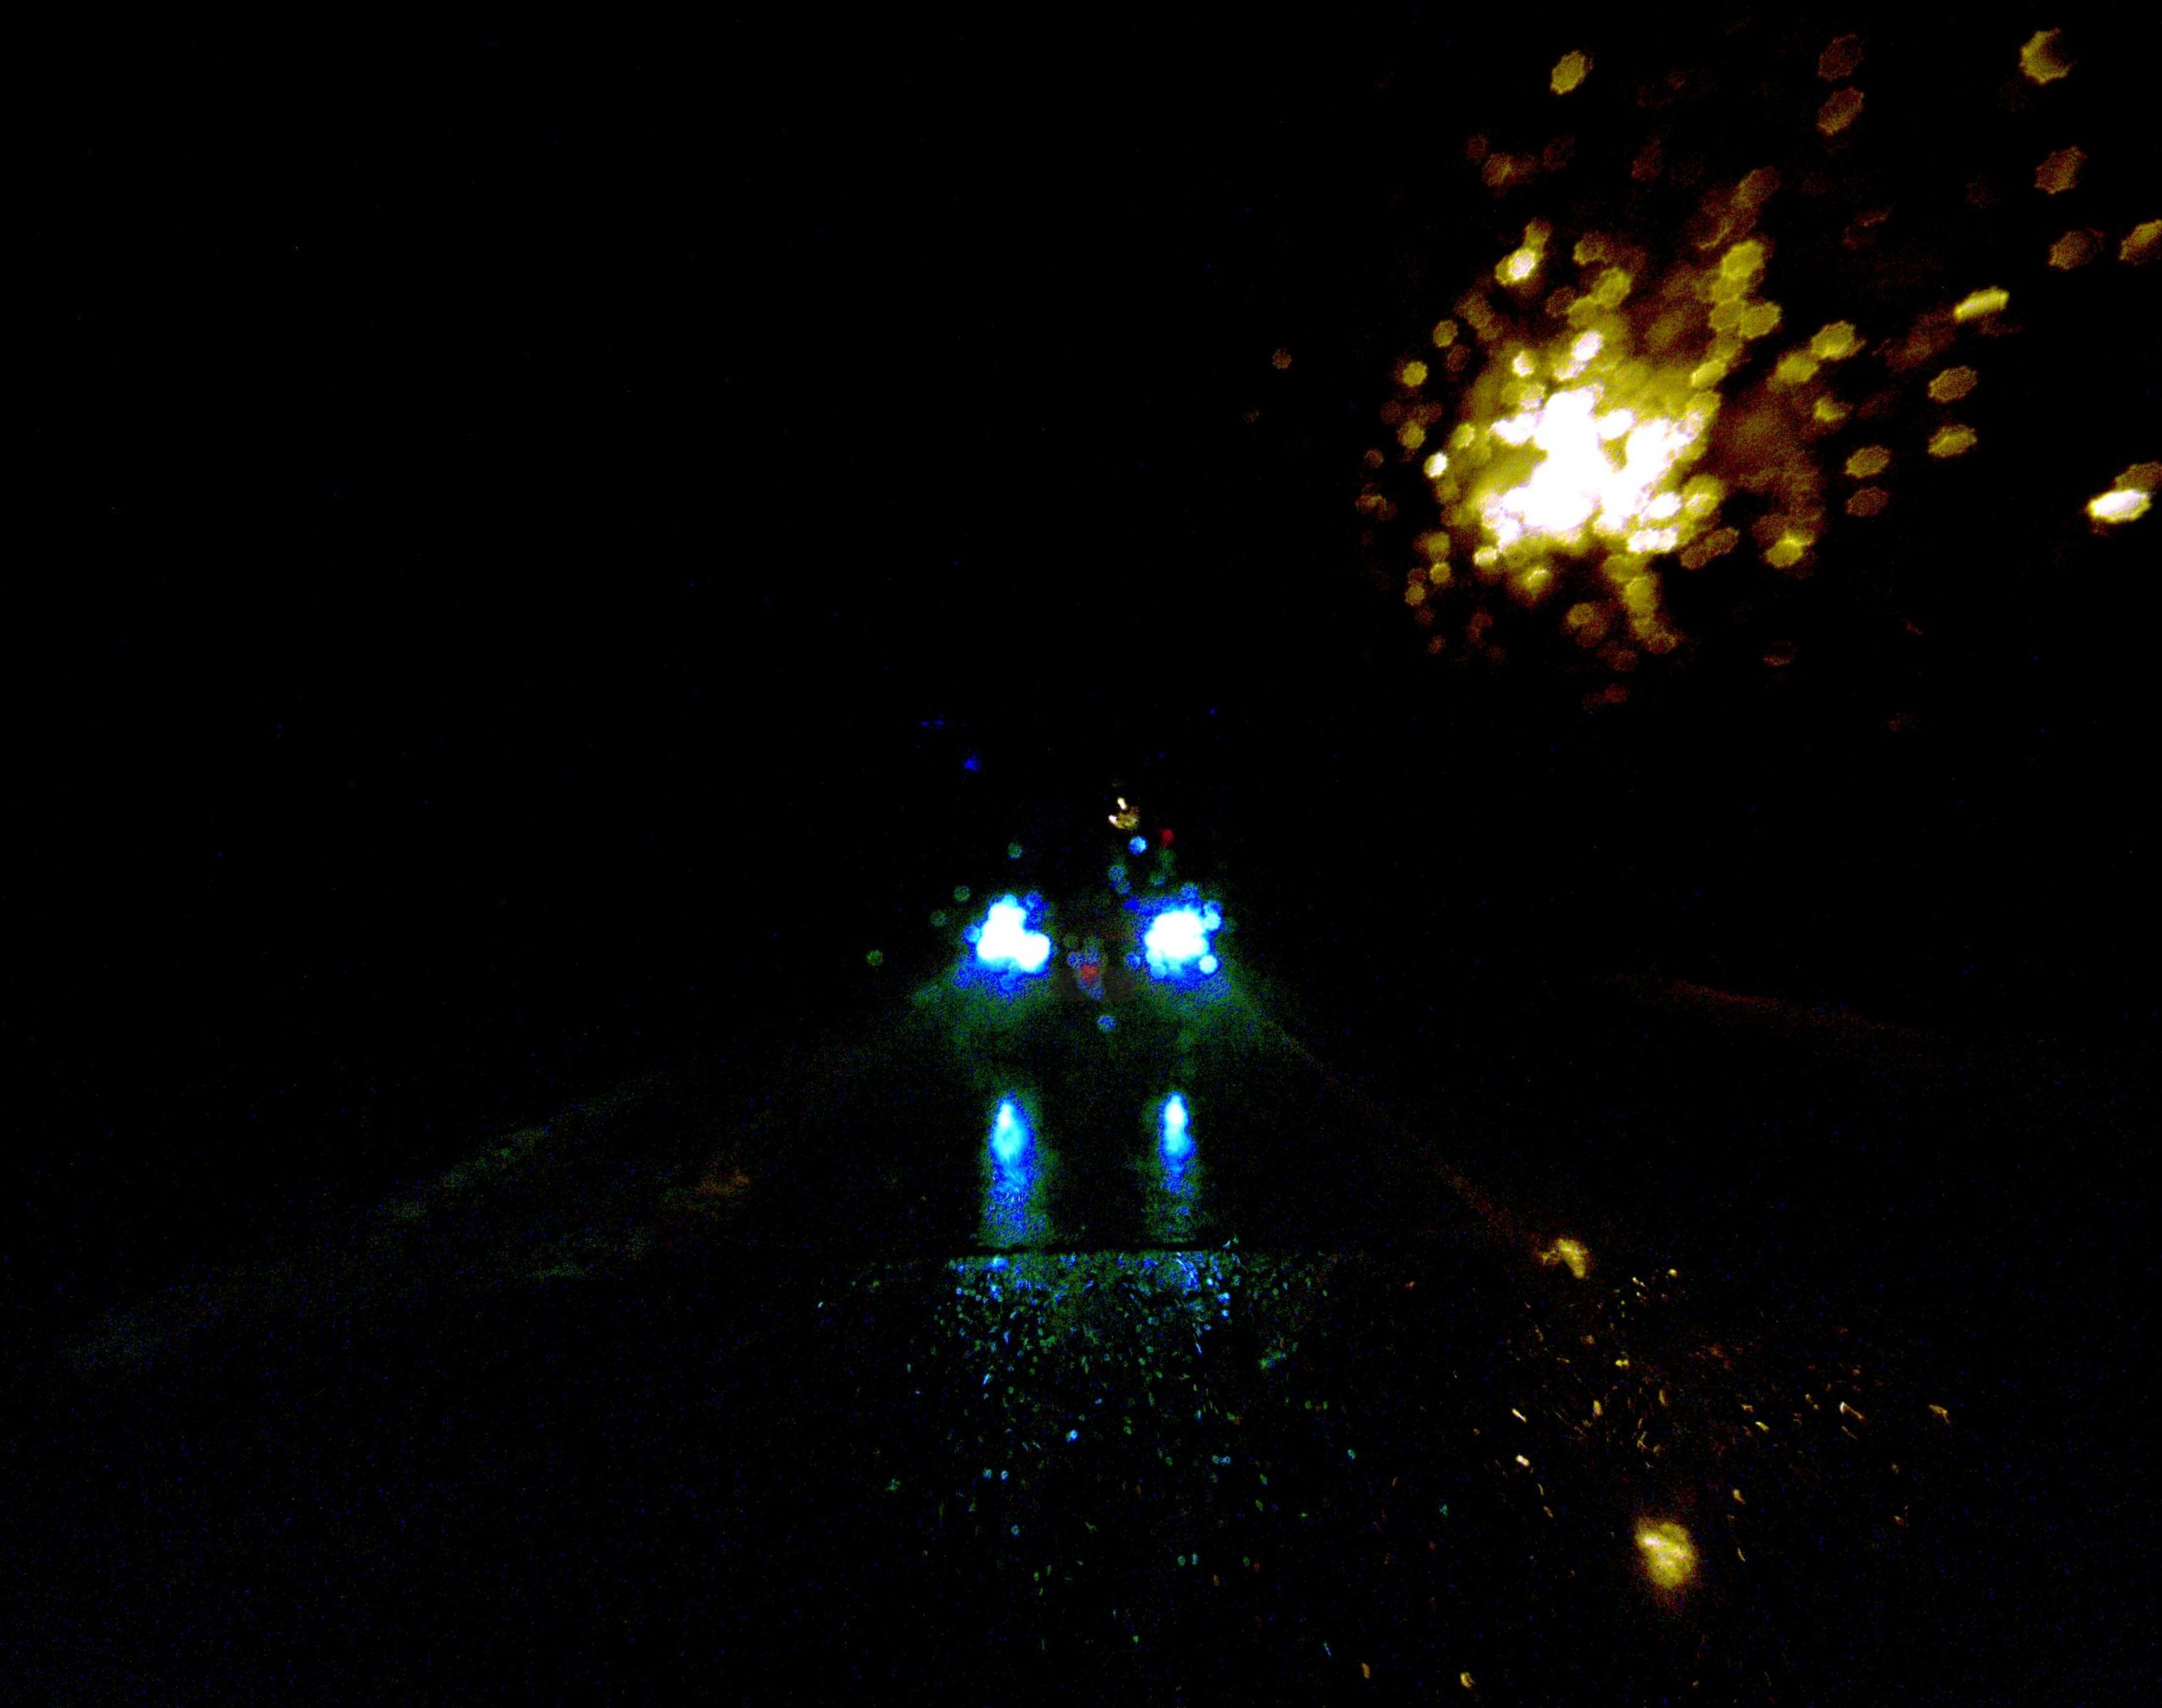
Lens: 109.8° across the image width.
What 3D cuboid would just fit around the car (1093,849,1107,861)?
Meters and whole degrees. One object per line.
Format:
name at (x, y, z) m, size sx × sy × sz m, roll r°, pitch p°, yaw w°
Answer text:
car at (2.687, 0.090, 105.292) m, size 1.878 × 1.536 × 4.356 m, roll 1°, pitch -1°, yaw 1°

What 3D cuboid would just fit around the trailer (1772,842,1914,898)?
trailer at (33.485, 0.637, 33.538) m, size 3.801 × 2.206 × 1.976 m, roll 3°, pitch 3°, yaw 18°

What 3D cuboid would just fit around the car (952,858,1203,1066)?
car at (0.016, 0.860, 8.334) m, size 1.944 × 1.580 × 4.775 m, roll -1°, pitch 0°, yaw 1°
